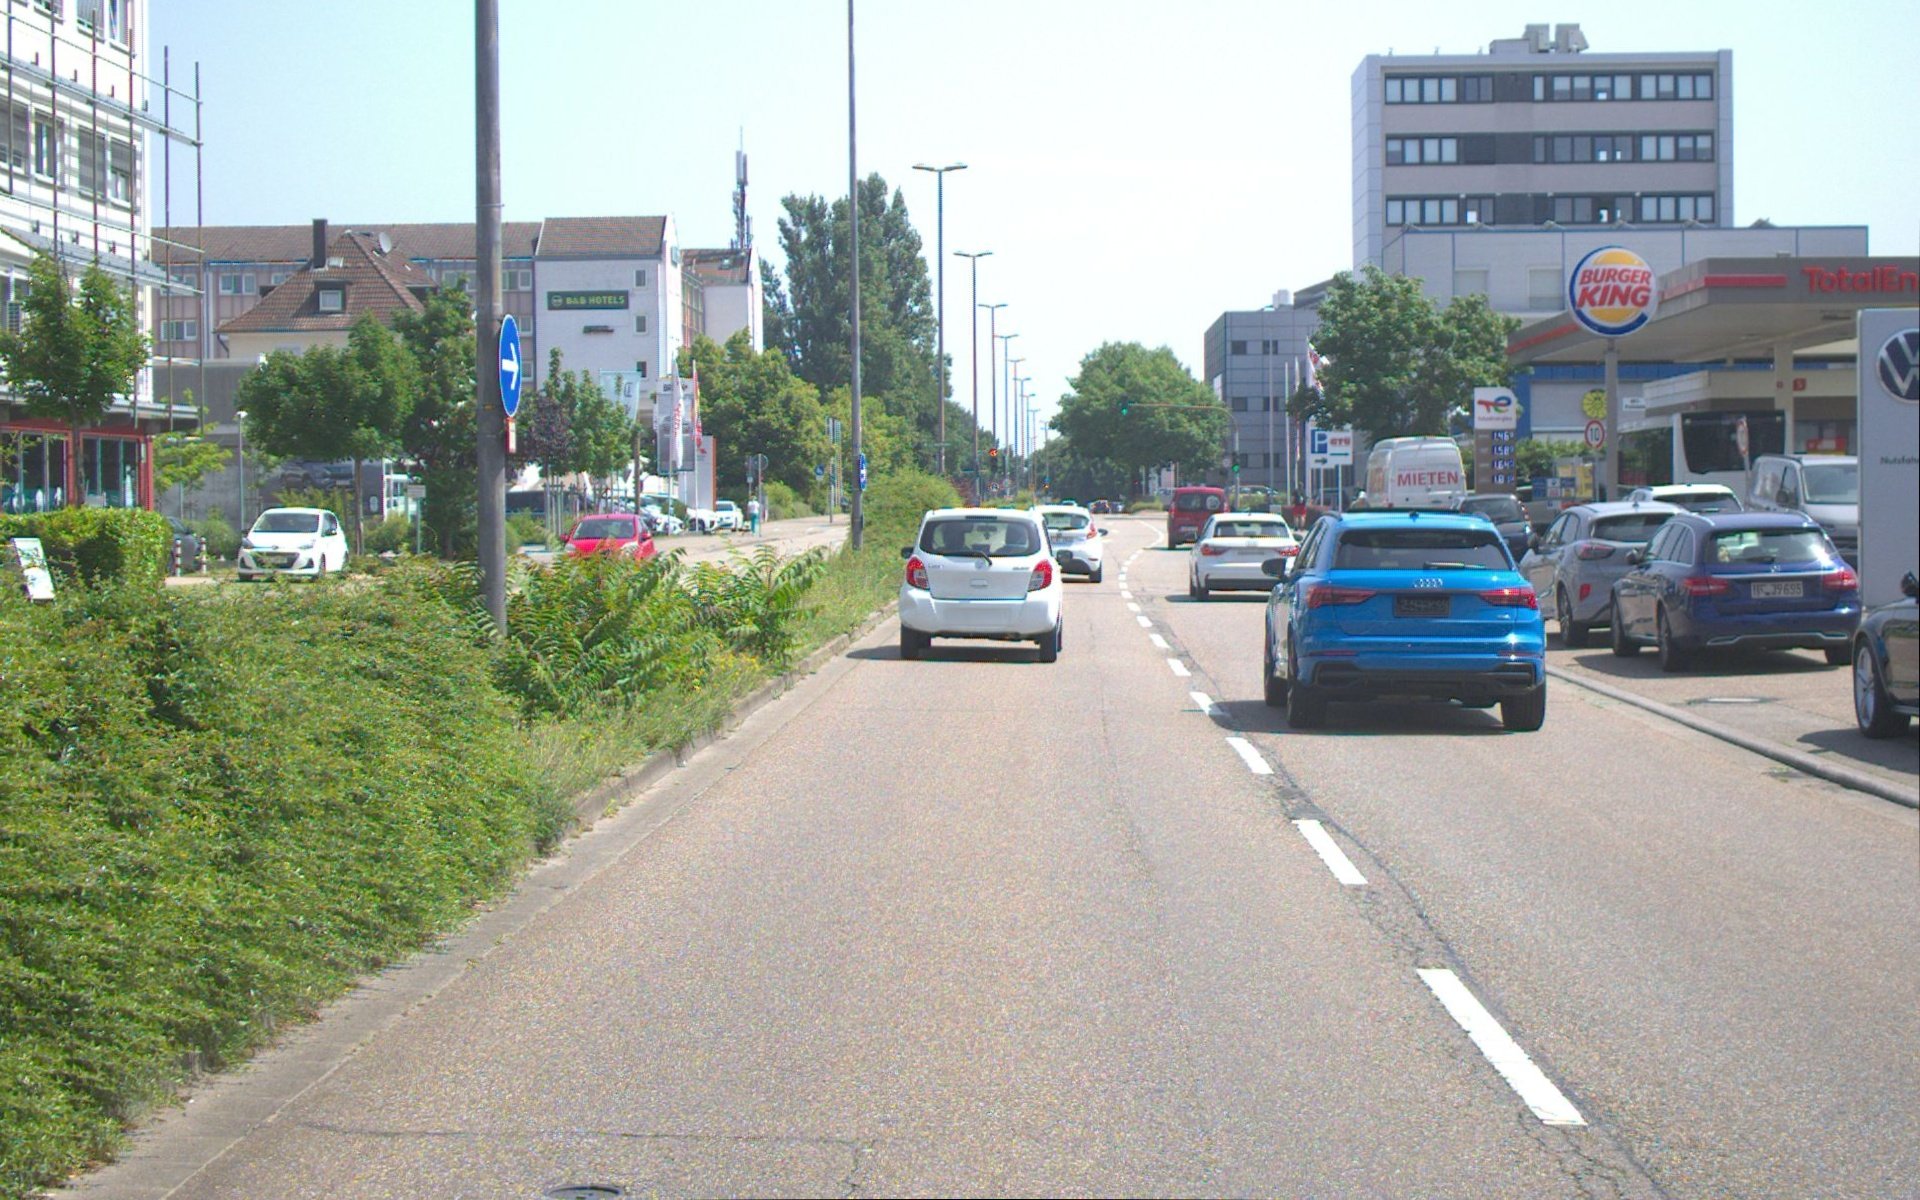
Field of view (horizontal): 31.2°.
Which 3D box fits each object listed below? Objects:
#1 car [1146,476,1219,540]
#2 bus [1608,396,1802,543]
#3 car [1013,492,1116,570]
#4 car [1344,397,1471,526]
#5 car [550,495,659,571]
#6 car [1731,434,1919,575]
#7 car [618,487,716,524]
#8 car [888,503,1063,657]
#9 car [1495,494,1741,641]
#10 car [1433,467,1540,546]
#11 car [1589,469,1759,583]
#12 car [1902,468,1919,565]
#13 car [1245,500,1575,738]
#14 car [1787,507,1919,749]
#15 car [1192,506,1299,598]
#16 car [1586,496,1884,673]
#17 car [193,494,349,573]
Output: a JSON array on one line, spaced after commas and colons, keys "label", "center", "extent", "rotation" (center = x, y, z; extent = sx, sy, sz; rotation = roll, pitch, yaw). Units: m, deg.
[{"label": "car", "center": [6.307, -2.605, 97.709], "extent": [1.795, 1.723, 3.973], "rotation": [0, 0, 0]}, {"label": "bus", "center": [16.794, -3.036, 78.283], "extent": [2.805, 3.068, 12.284], "rotation": [0, 3, 5]}, {"label": "car", "center": [1.994, -1.316, 66.732], "extent": [1.830, 1.445, 4.000], "rotation": [0, 0, 0]}, {"label": "car", "center": [10.840, -3.349, 83.798], "extent": [2.133, 2.829, 7.309], "rotation": [-5, 2, 2]}, {"label": "car", "center": [-7.138, -1.350, 69.339], "extent": [1.631, 1.419, 3.450], "rotation": [-3, 1, 3]}, {"label": "car", "center": [13.179, -1.433, 51.828], "extent": [1.993, 2.016, 5.161], "rotation": [0, 2, 1]}, {"label": "car", "center": [-12.736, -4.113, 149.562], "extent": [3.987, 1.547, 1.865], "rotation": [0, 0, 5]}, {"label": "car", "center": [0.121, -0.193, 35.644], "extent": [1.712, 1.505, 3.247], "rotation": [0, 0, -1]}, {"label": "car", "center": [7.312, -0.409, 38.588], "extent": [1.732, 1.547, 4.181], "rotation": [0, 2, -4]}, {"label": "car", "center": [10.742, -1.921, 70.346], "extent": [1.657, 1.514, 3.820], "rotation": [-2, 2, 2]}, {"label": "car", "center": [10.740, -1.149, 51.980], "extent": [1.667, 1.590, 4.613], "rotation": [-2, 2, 1]}, {"label": "car", "center": [15.737, -1.235, 52.051], "extent": [1.743, 1.508, 4.601], "rotation": [1, 2, 1]}, {"label": "car", "center": [3.308, 0.066, 26.109], "extent": [1.913, 1.591, 4.396], "rotation": [0, 2, 0]}, {"label": "car", "center": [6.912, 0.143, 21.869], "extent": [1.854, 1.476, 5.157], "rotation": [-3, 2, -2]}, {"label": "car", "center": [4.634, -0.807, 55.848], "extent": [1.667, 1.394, 3.793], "rotation": [0, 2, 5]}, {"label": "car", "center": [7.381, -0.184, 33.211], "extent": [1.713, 1.543, 4.791], "rotation": [-1, 1, -1]}, {"label": "car", "center": [-14.108, -1.327, 70.265], "extent": [1.679, 1.489, 4.042], "rotation": [1, -1, -34]}]
